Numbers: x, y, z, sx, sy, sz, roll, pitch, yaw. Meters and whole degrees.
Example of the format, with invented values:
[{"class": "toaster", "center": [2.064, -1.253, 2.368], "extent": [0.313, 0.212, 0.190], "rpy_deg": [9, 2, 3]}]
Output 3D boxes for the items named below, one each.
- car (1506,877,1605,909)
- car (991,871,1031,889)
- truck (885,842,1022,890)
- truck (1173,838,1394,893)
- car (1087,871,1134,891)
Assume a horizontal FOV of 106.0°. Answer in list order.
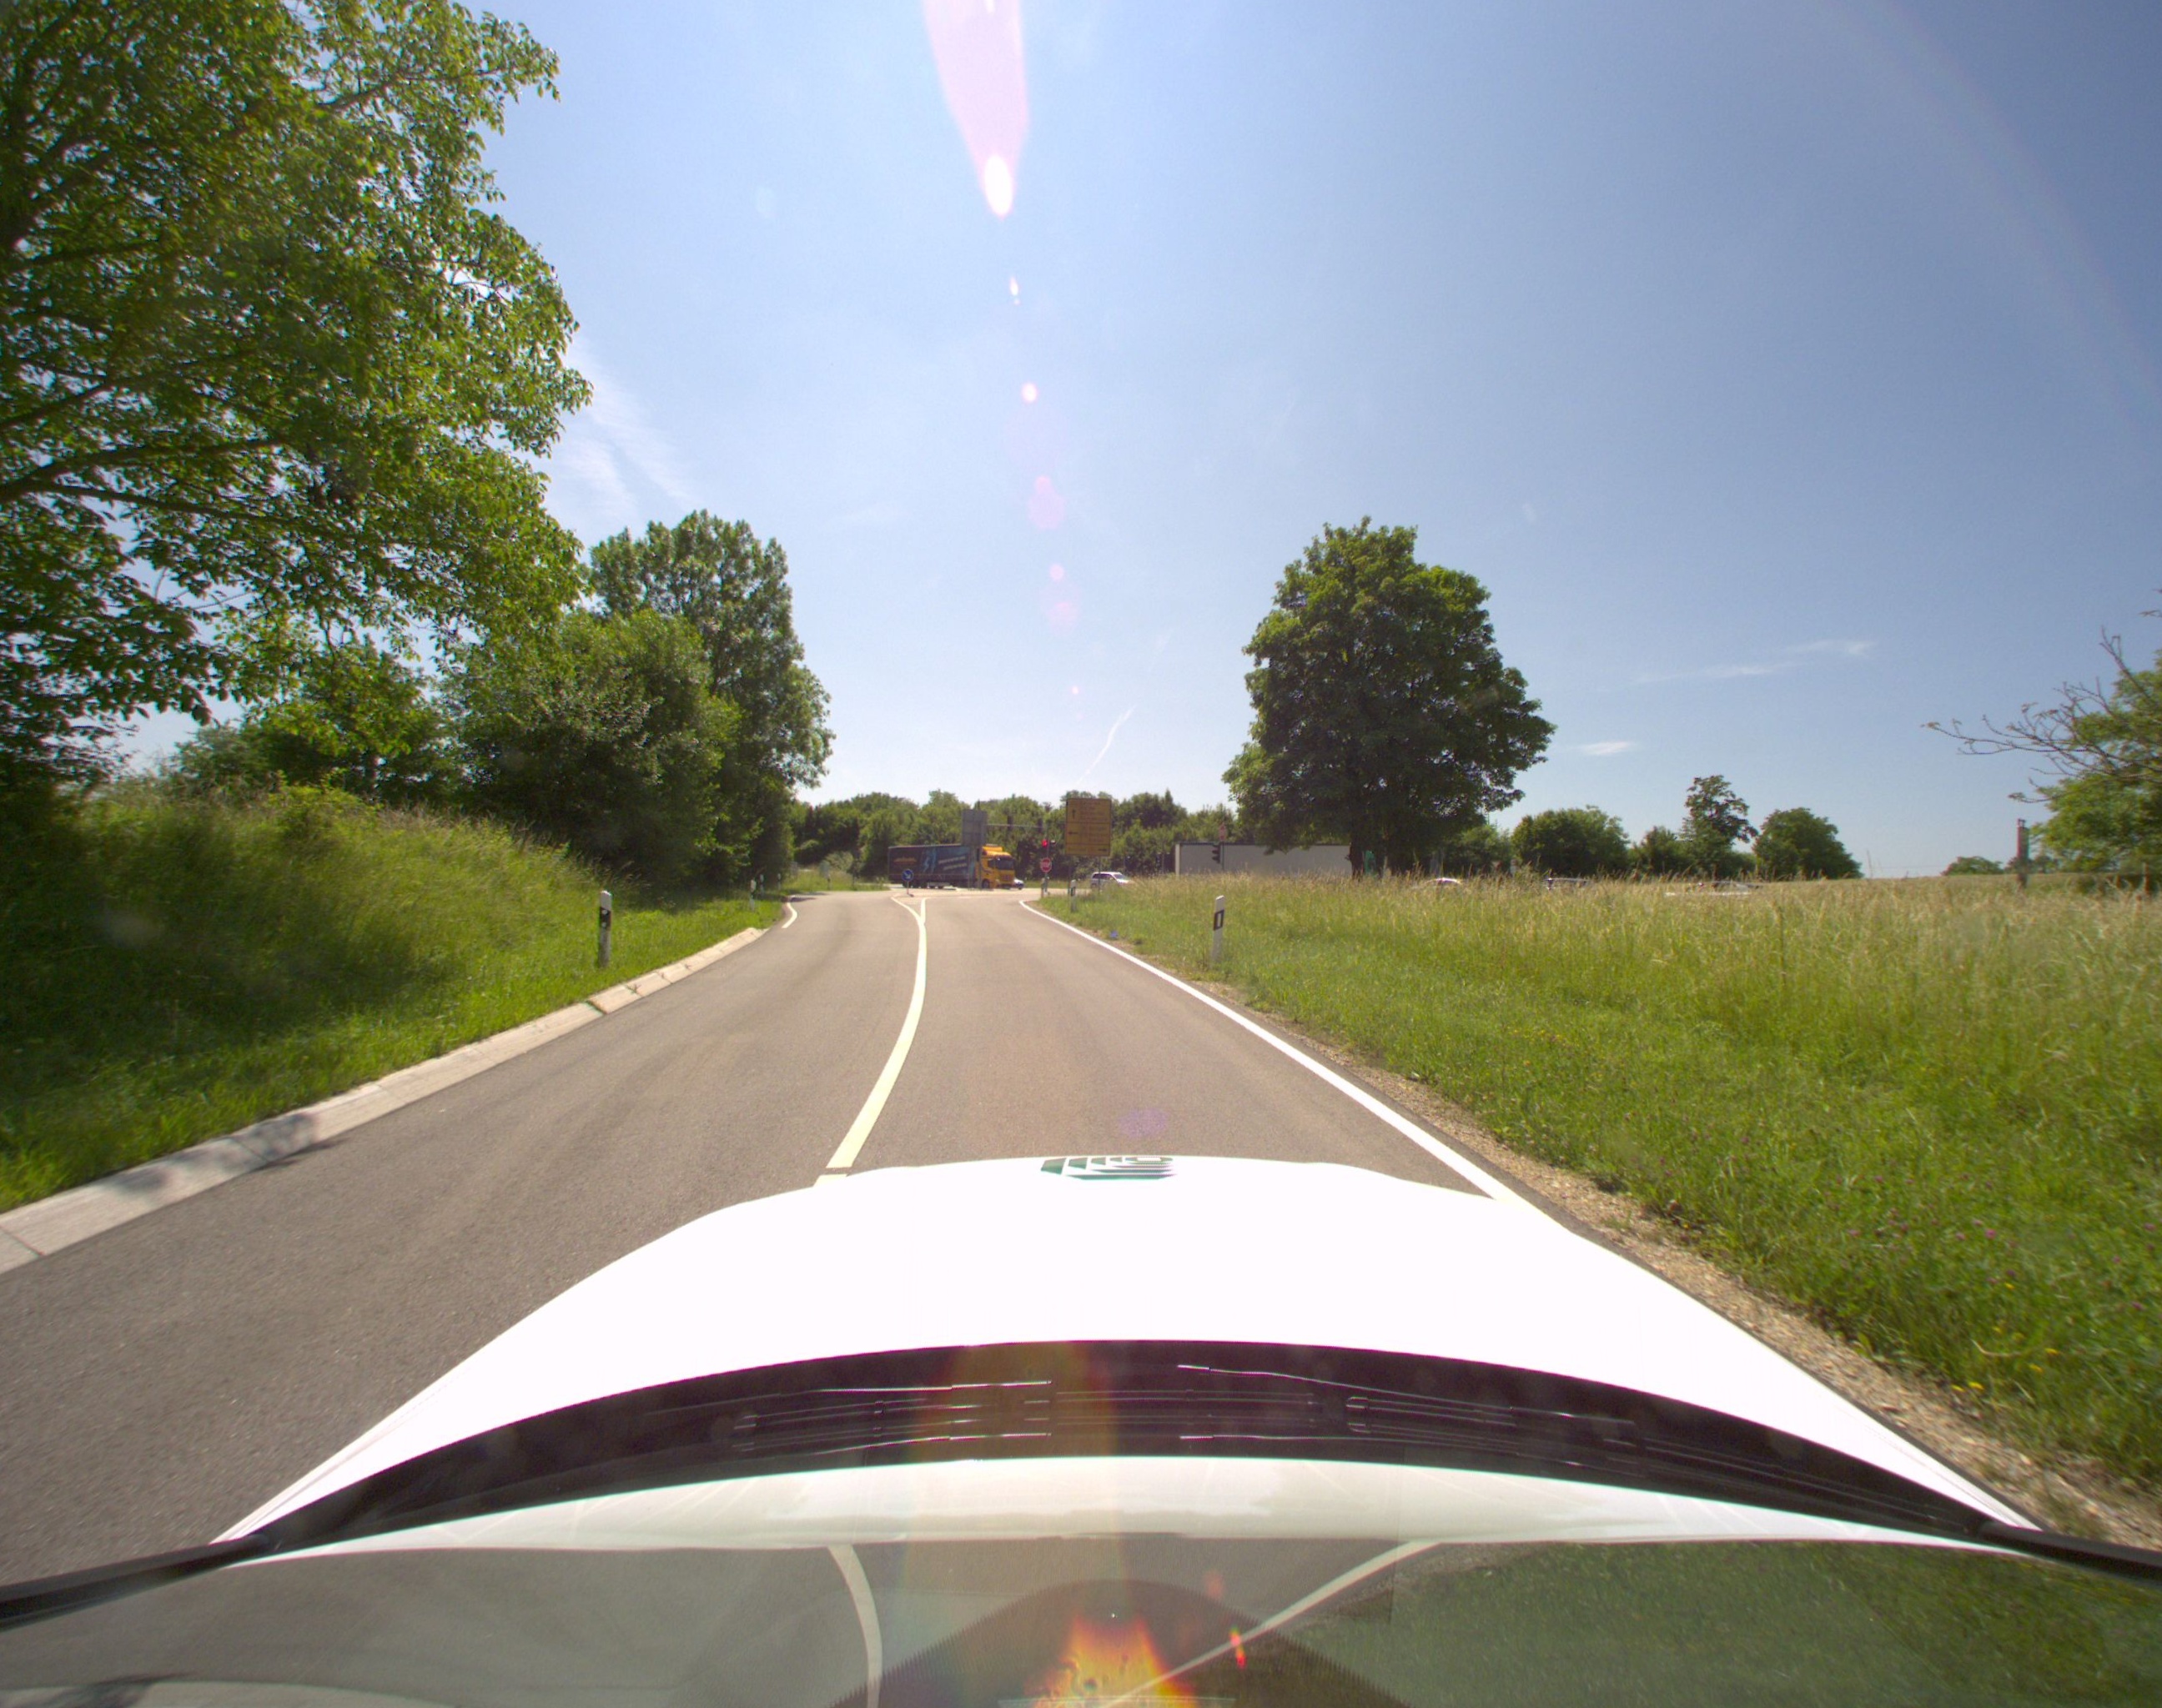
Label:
[{"class": "car", "center": [25.751, 2.063, 44.348], "extent": [1.736, 1.553, 4.335], "rpy_deg": [1, -1, -35]}, {"class": "car", "center": [-6.544, 2.429, 76.110], "extent": [1.669, 1.575, 3.866], "rpy_deg": [0, -1, -43]}, {"class": "truck", "center": [-12.323, 1.107, 76.494], "extent": [16.598, 4.132, 2.869], "rpy_deg": [-1, -2, 42]}, {"class": "truck", "center": [15.642, 0.906, 63.742], "extent": [16.577, 4.173, 3.135], "rpy_deg": [0, -2, 0]}, {"class": "car", "center": [2.392, 2.183, 66.228], "extent": [1.735, 1.575, 3.644], "rpy_deg": [0, -1, -44]}]
